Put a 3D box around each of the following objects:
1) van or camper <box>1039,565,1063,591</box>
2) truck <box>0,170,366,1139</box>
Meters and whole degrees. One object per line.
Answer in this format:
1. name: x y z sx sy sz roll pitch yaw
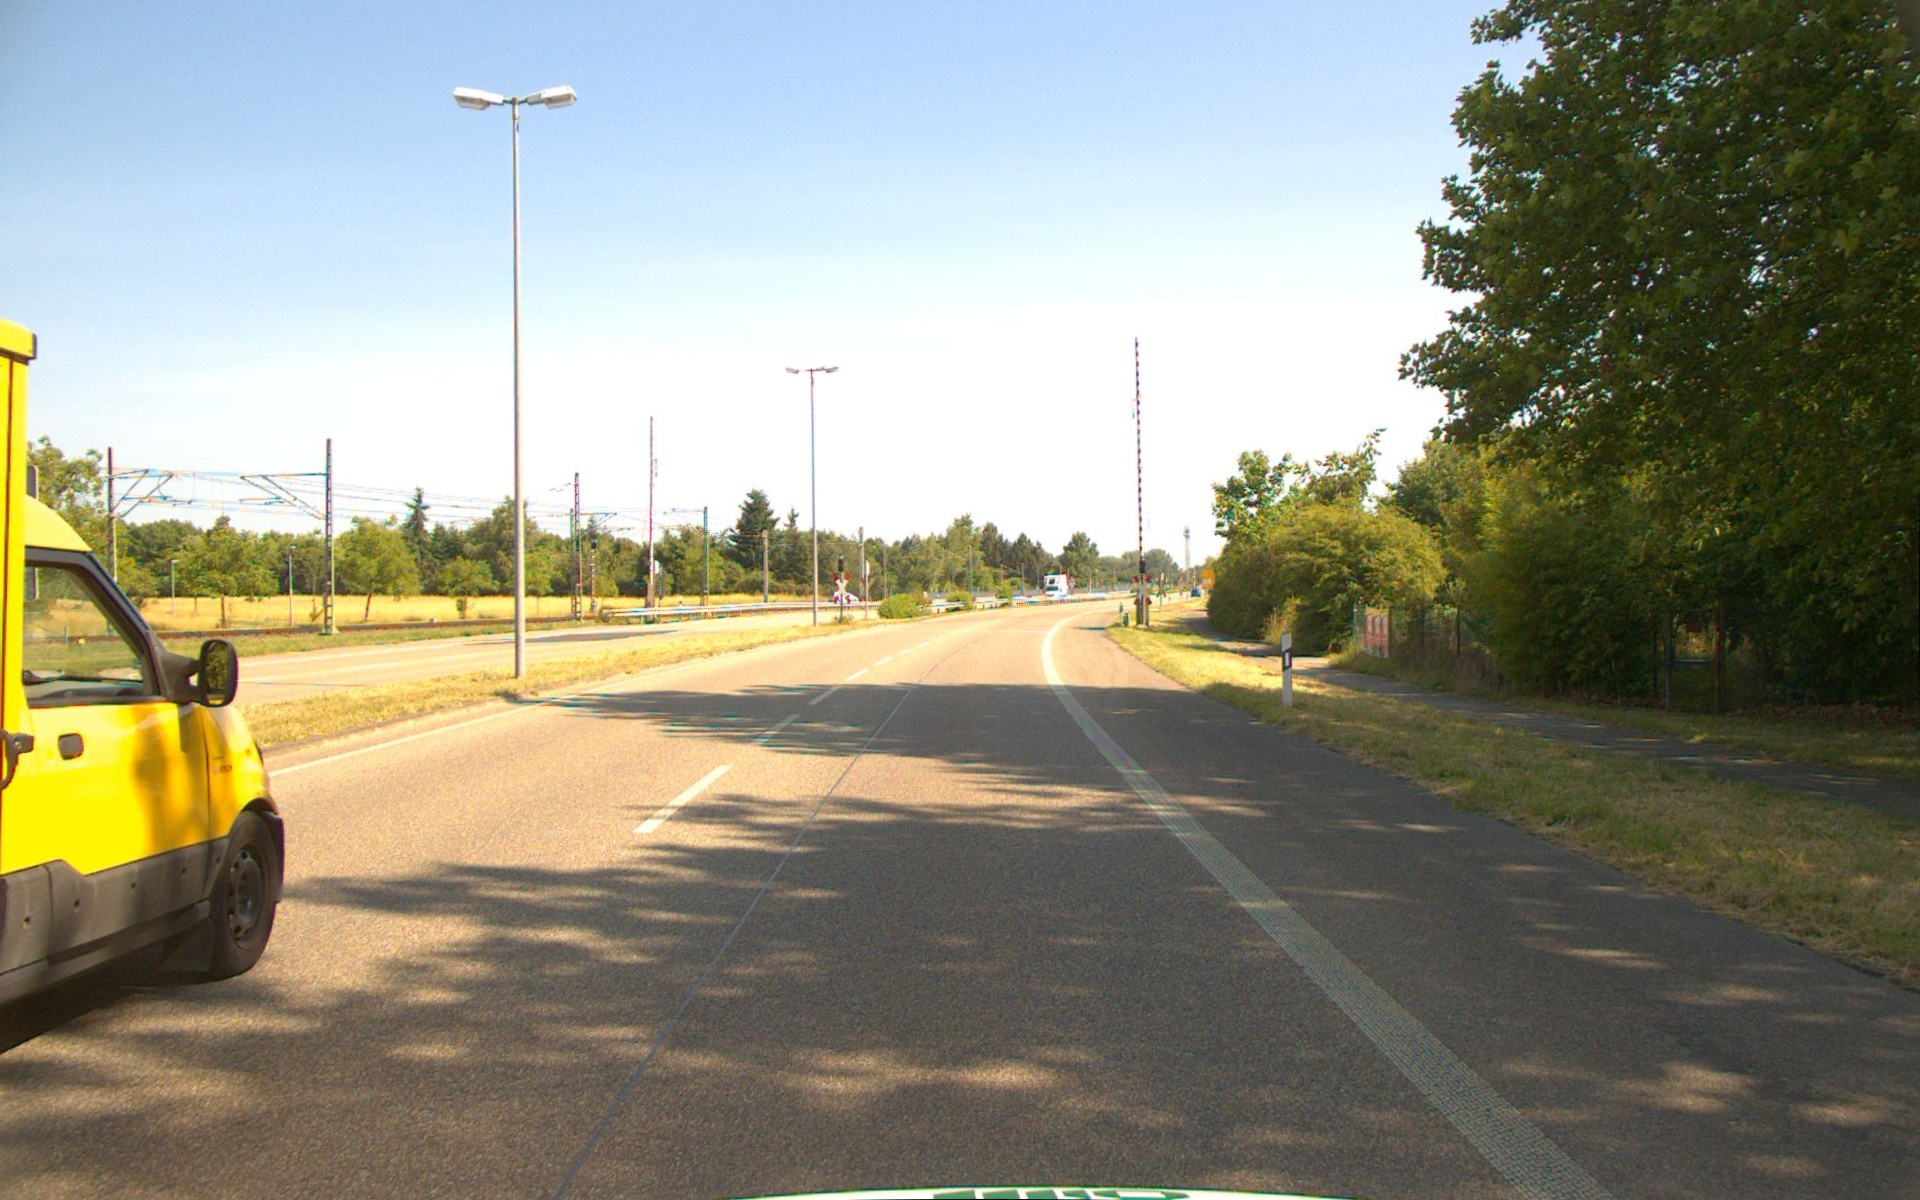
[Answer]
1. van or camper: 13.365 -3.253 243.179 2.818 3.744 8.642 -1 1 -1
2. truck: -3.508 0.142 4.010 2.069 2.500 5.916 0 0 -1
